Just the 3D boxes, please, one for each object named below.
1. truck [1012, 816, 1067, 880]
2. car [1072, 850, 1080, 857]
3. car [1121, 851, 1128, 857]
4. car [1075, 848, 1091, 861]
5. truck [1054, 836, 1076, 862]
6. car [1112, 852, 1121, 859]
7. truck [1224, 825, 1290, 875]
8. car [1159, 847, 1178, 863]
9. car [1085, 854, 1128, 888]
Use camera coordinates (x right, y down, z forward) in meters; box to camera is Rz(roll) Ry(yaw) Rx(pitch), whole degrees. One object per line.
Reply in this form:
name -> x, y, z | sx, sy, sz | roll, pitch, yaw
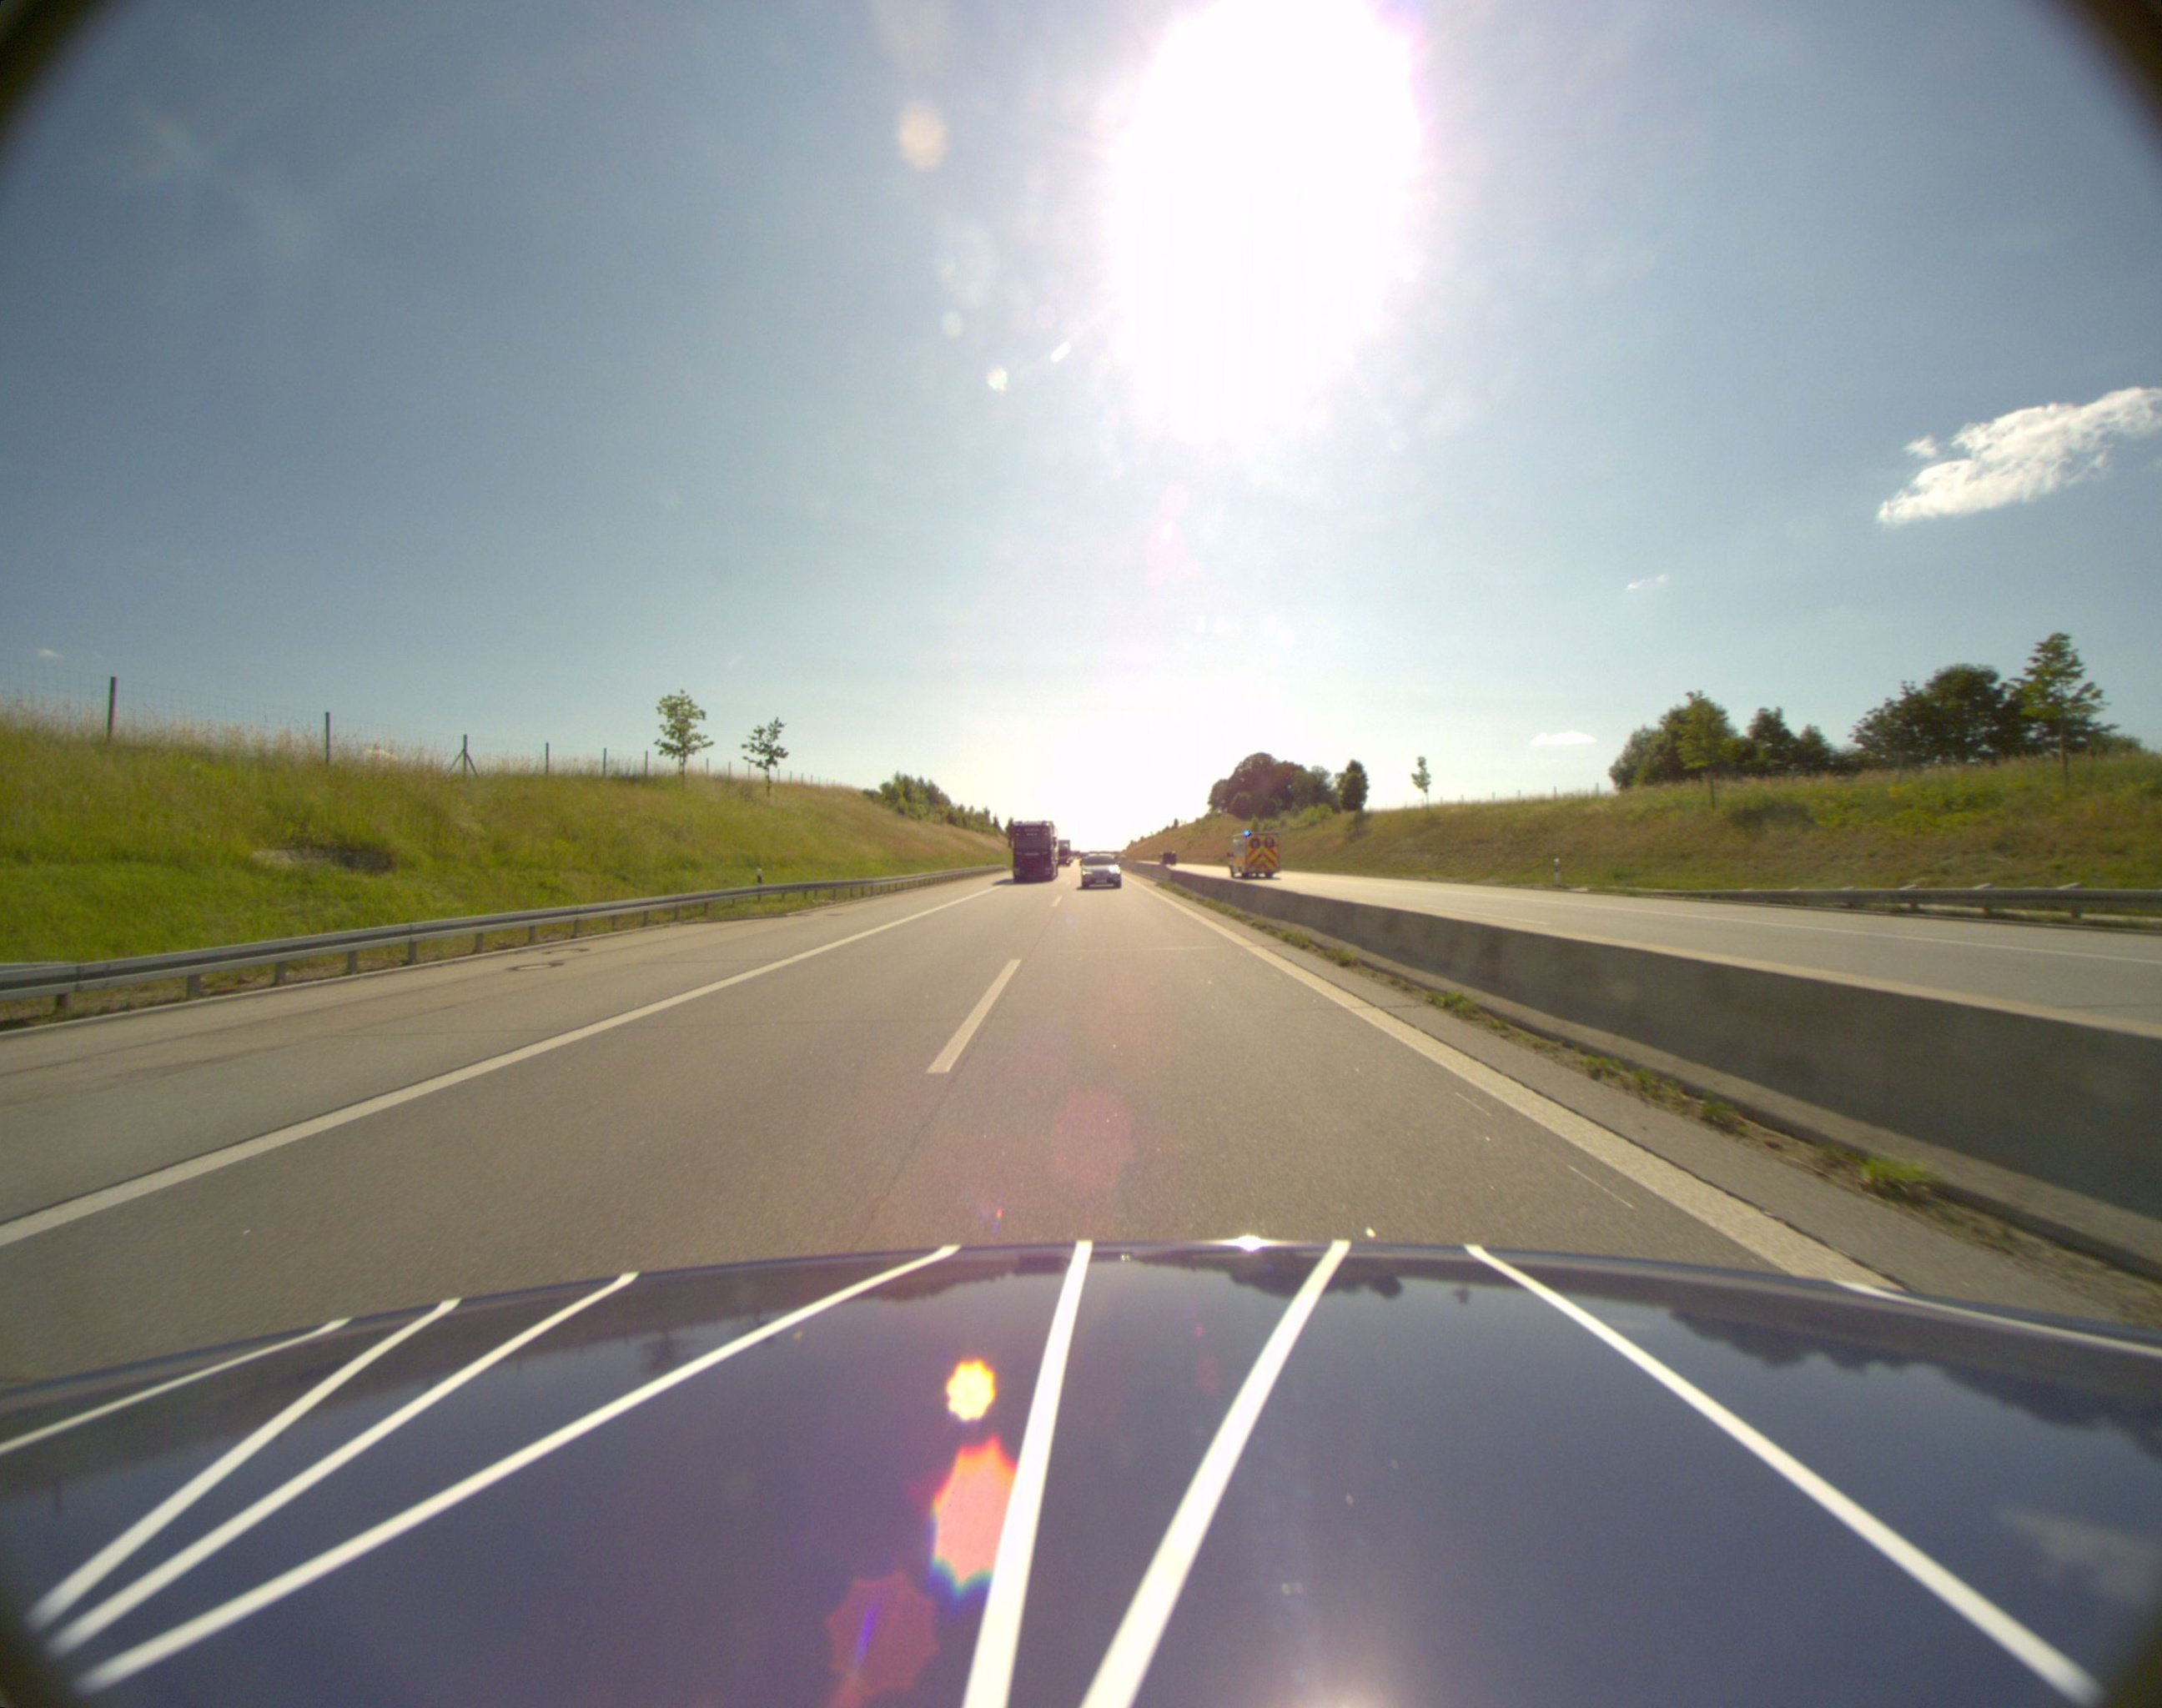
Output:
truck -> -2.626, -0.397, 52.642 | 2.623, 3.795, 13.404 | -1, 0, 1
car -> -1.123, -0.126, 170.774 | 1.708, 1.433, 3.633 | 1, 0, -4
car -> 11.650, -0.077, 203.677 | 1.808, 1.462, 4.527 | -1, 0, 0
car -> 0.319, 0.039, 133.400 | 2.816, 2.143, 5.946 | 1, 0, -1
truck -> -2.352, -0.718, 116.760 | 3.025, 3.795, 13.402 | 1, 0, 0
car -> 8.306, 0.309, 178.161 | 1.936, 1.722, 4.886 | -2, 0, 0
truck -> 11.508, -0.235, 50.216 | 2.781, 3.004, 6.792 | -1, 0, 0
car -> 12.251, 0.124, 106.739 | 1.998, 2.002, 4.970 | -2, 0, 0
car -> 1.265, 0.765, 36.024 | 1.794, 1.501, 3.636 | -1, 0, 5
